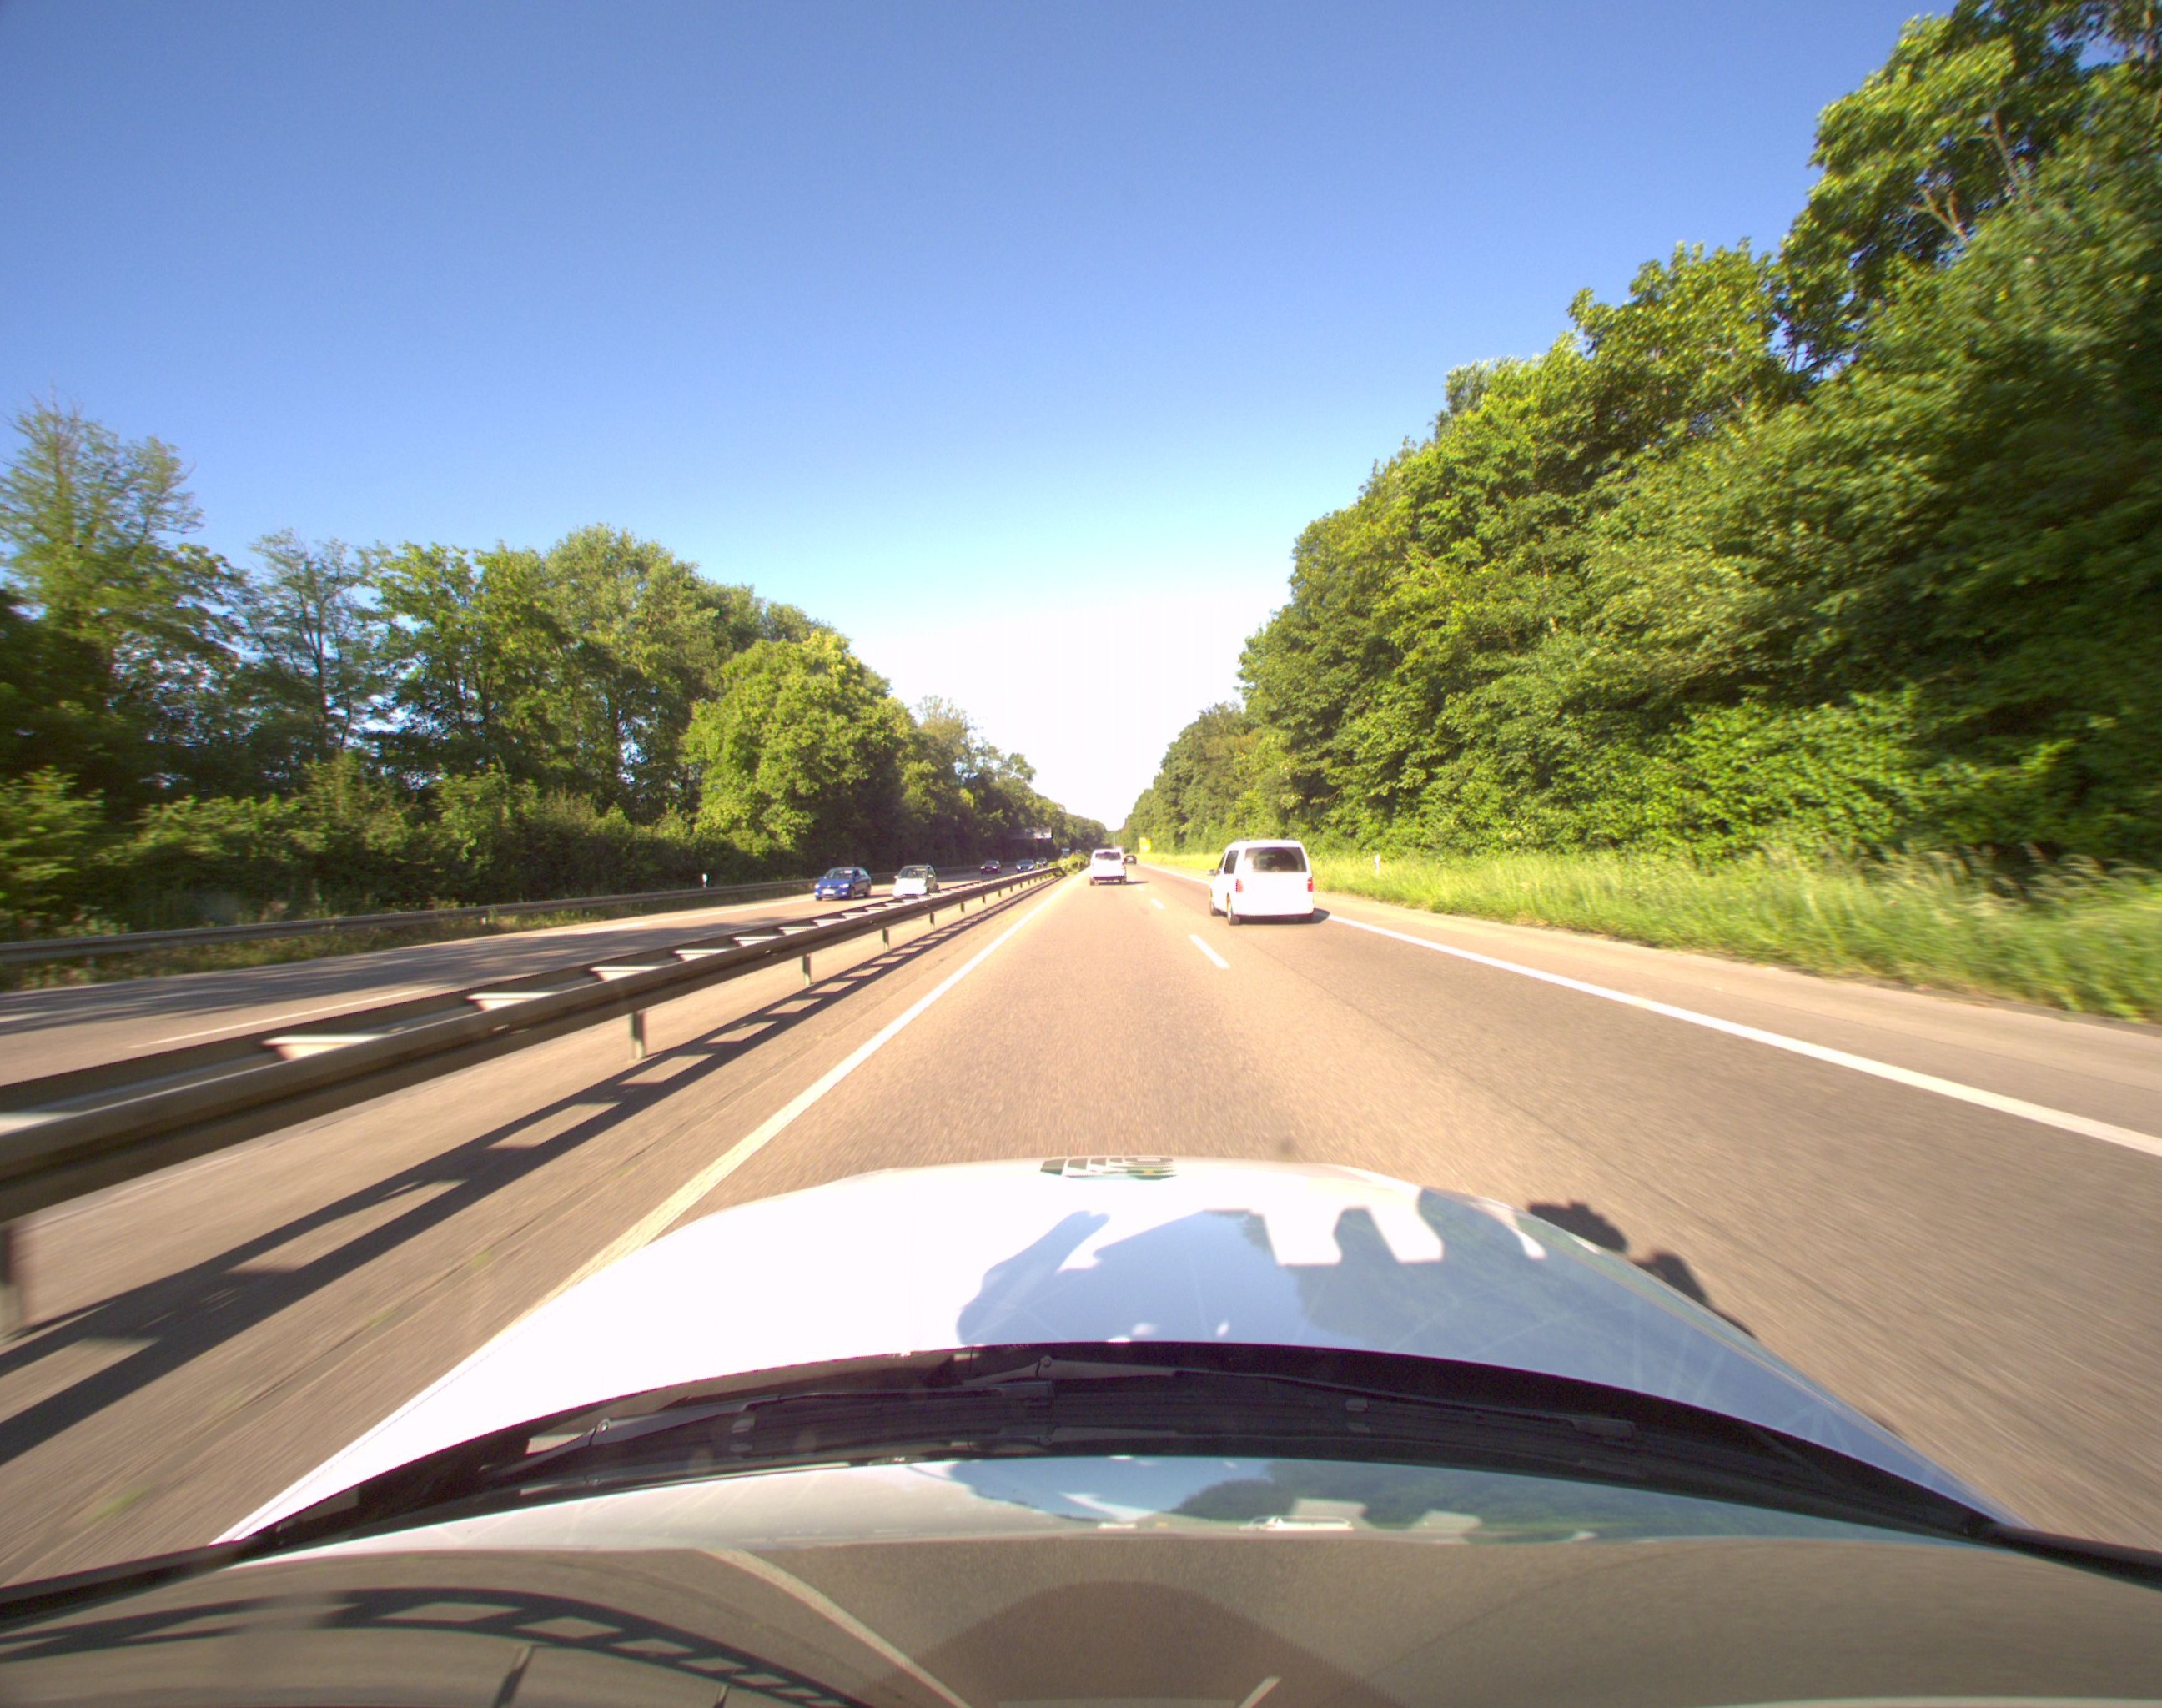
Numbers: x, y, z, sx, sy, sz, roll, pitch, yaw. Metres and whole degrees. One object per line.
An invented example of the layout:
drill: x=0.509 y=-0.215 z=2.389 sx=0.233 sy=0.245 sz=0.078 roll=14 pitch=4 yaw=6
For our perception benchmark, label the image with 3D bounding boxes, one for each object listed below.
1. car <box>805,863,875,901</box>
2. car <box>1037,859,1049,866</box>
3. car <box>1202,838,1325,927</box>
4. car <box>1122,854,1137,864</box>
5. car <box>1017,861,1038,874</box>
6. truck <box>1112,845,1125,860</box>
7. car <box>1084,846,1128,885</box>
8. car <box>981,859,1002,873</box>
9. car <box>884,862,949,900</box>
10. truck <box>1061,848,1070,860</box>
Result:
car: x=-11.075 y=1.248 z=37.740 sx=1.829 sy=1.540 sz=4.431 roll=-1 pitch=0 yaw=1
car: x=-6.950 y=1.547 z=148.666 sx=1.711 sy=1.357 sz=3.948 roll=-1 pitch=-1 yaw=3
car: x=4.005 y=0.564 z=18.606 sx=1.857 sy=1.770 sz=4.470 roll=-1 pitch=0 yaw=1
car: x=7.319 y=0.701 z=123.138 sx=1.986 sy=1.398 sz=4.001 roll=-1 pitch=0 yaw=1
car: x=-5.772 y=1.432 z=88.558 sx=1.829 sy=1.357 sz=4.476 roll=-1 pitch=0 yaw=1
truck: x=10.904 y=-0.494 z=236.762 sx=3.483 sy=4.172 sz=8.865 roll=-2 pitch=0 yaw=2
car: x=1.219 y=0.559 z=41.781 sx=2.079 sy=1.828 sz=3.999 roll=-1 pitch=0 yaw=0
car: x=-9.716 y=1.272 z=88.889 sx=1.712 sy=1.445 sz=4.229 roll=-2 pitch=0 yaw=1
car: x=-7.344 y=1.169 z=36.806 sx=1.870 sy=1.540 sz=4.466 roll=-2 pitch=0 yaw=1
truck: x=-4.731 y=0.048 z=250.112 sx=2.752 sy=3.712 sz=7.855 roll=-2 pitch=0 yaw=0
